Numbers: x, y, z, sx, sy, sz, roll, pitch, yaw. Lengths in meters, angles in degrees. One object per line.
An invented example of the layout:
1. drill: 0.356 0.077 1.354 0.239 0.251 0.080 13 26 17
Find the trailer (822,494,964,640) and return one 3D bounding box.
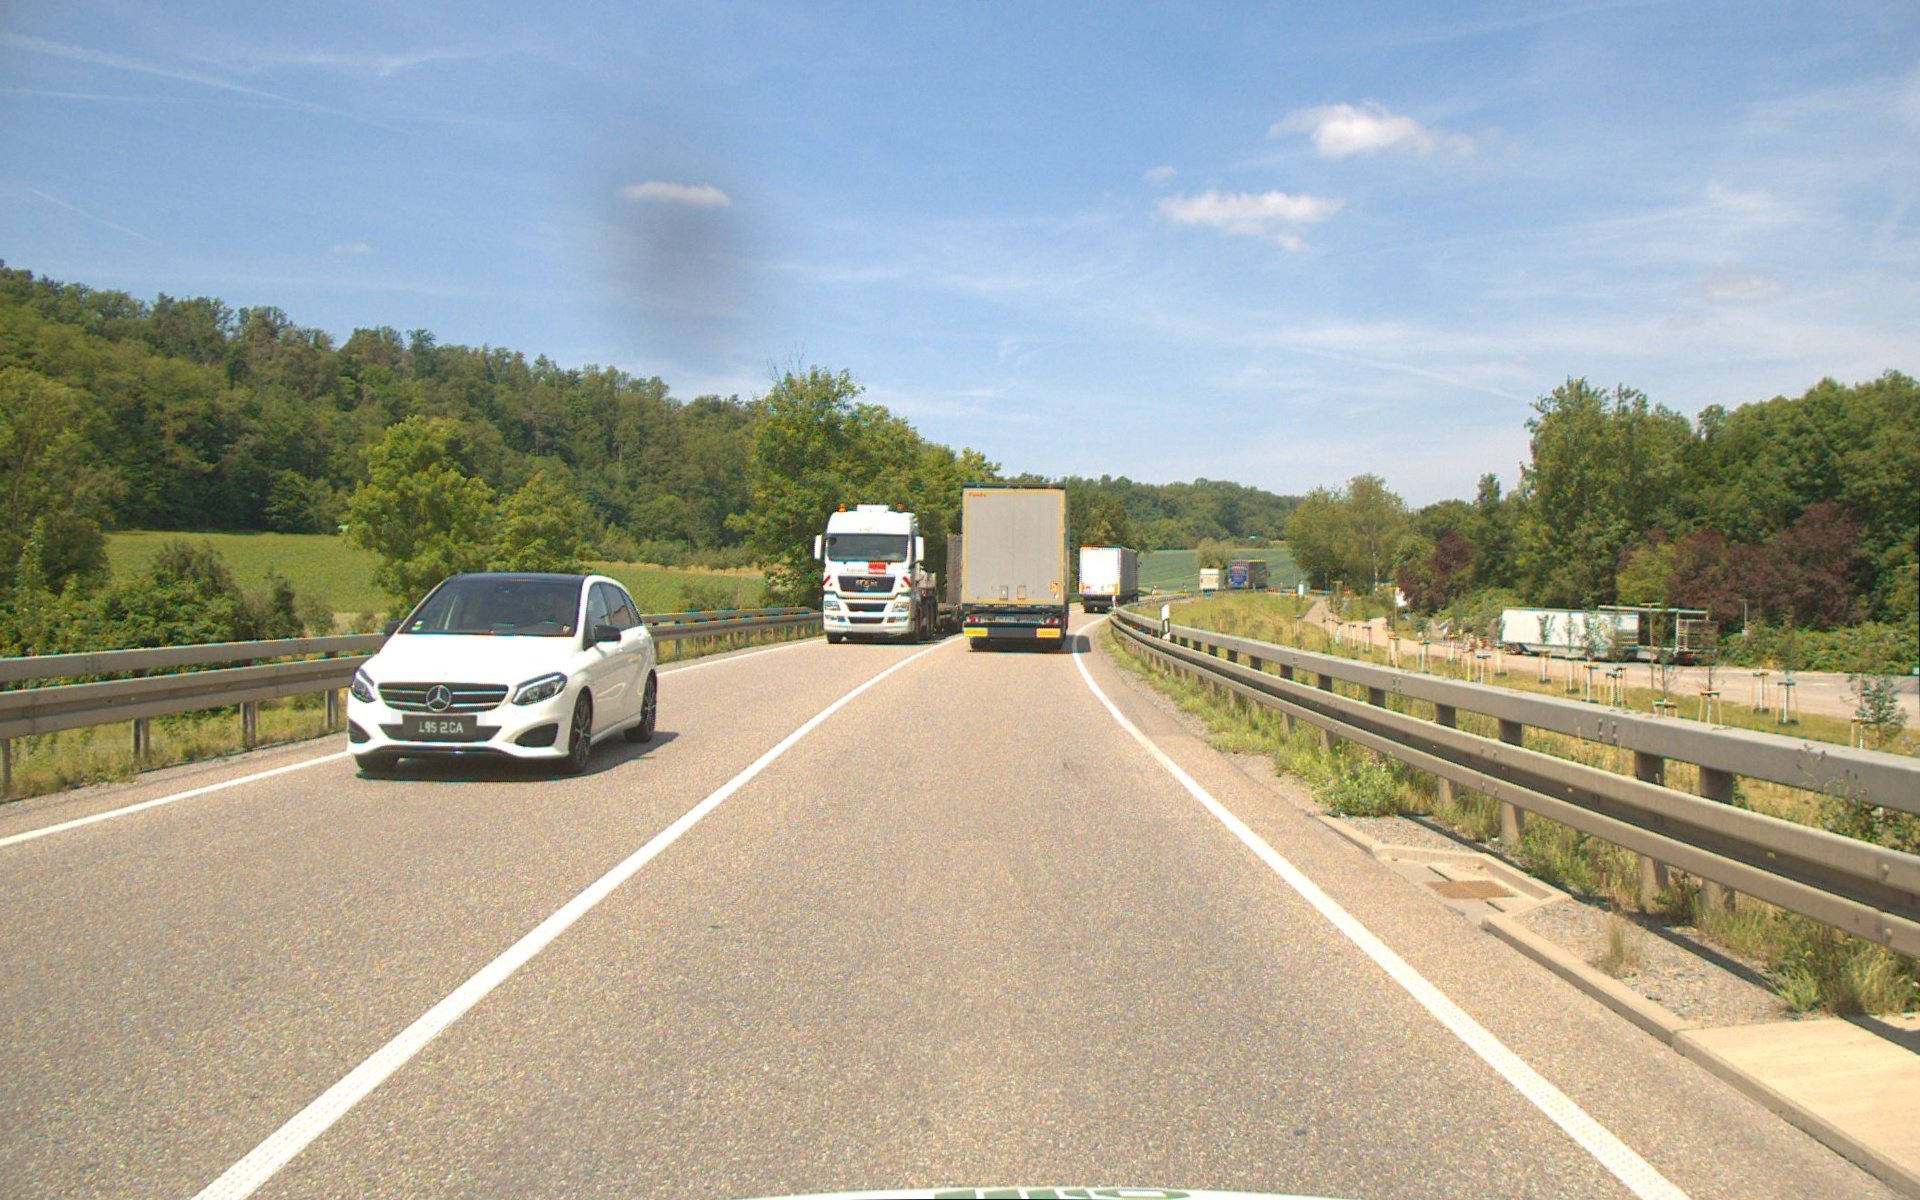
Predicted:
1. trailer: -1.846 -0.994 53.656 3.053 4.049 15.364 0 1 3

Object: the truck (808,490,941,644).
1. truck: -2.287 -0.899 46.870 3.053 4.027 6.625 0 0 3

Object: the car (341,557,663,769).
1. car: -3.736 0.457 14.212 1.722 1.538 3.999 1 0 -2

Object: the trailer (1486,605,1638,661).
1. trailer: 41.150 2.194 113.679 2.680 3.386 11.817 1 1 -22

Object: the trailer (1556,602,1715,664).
1. trailer: 45.228 2.141 111.352 2.678 3.669 11.827 1 1 -20

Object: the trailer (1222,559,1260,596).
1. trailer: 35.638 -2.755 209.338 3.571 4.337 12.202 1 0 16

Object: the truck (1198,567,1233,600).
1. truck: 28.968 -1.802 187.172 3.154 3.424 11.884 1 0 12

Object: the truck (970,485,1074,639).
1. truck: 2.049 -1.172 52.852 3.053 4.573 6.814 1 1 3

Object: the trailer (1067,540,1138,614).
1. trailer: 9.336 -1.348 106.704 3.293 4.392 13.875 1 0 10

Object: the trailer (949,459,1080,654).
1. trailer: 1.652 -1.124 46.163 3.053 4.578 13.892 1 1 3

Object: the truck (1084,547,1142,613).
1. truck: 10.525 -1.306 113.143 3.293 4.392 6.746 1 0 10

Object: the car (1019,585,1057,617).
1. car: 4.821 0.056 101.706 1.881 1.892 5.180 1 0 8
